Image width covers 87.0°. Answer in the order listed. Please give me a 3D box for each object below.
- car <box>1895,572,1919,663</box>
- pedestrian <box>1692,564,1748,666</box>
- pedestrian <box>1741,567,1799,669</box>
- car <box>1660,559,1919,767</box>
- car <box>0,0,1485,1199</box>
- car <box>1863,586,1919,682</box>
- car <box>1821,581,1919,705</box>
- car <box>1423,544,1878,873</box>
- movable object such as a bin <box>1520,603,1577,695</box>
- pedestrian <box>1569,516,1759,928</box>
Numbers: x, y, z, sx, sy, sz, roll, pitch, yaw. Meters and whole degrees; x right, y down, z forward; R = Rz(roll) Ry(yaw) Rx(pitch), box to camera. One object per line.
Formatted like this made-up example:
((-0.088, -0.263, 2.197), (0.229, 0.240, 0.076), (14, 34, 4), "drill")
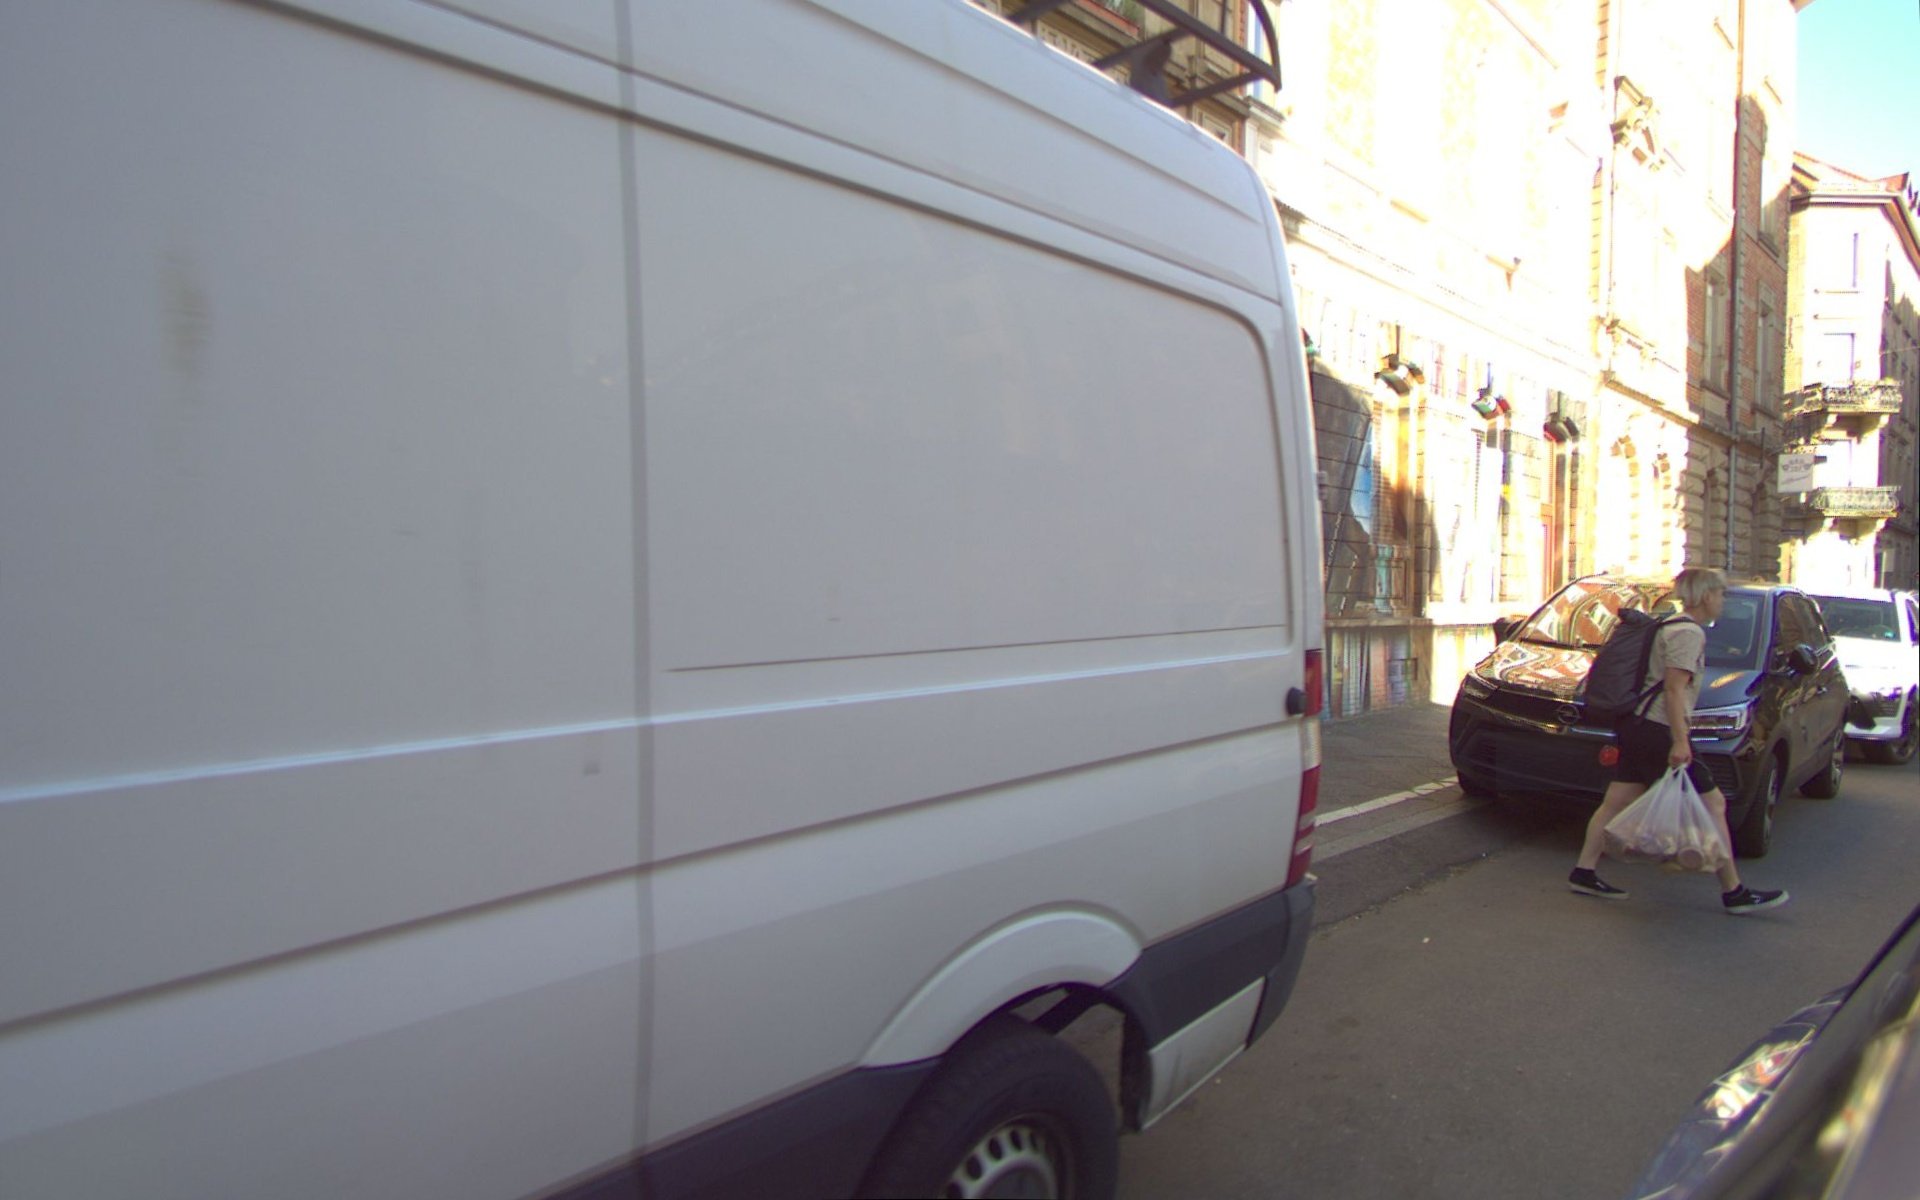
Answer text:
((20.042, 0.344, 20.191), (3.871, 1.735, 1.706), (0, 2, -43), "car")
((12.694, 0.236, 16.902), (0.722, 1.642, 0.575), (1, 1, -43), "pedestrian")
((13.264, 0.280, 16.566), (0.715, 1.624, 0.591), (1, 1, -43), "pedestrian")
((8.912, 0.500, 10.387), (4.140, 1.711, 1.811), (-1, 0, -40), "car")
((-1.563, 0.029, 1.383), (5.784, 2.644, 2.072), (0, 0, -41), "car")
((16.818, 0.543, 17.423), (3.619, 1.532, 1.537), (0, 2, -43), "car")
((13.252, 0.530, 14.099), (3.845, 1.544, 1.572), (0, -1, -45), "car")
((4.931, 0.523, 7.026), (3.856, 1.663, 1.690), (0, 1, -41), "car")
((7.404, 0.601, 12.738), (0.545, 1.065, 0.597), (4, 3, 31), "movable object such as a bin")
((3.387, 0.532, 4.882), (0.675, 1.795, 0.633), (-1, -1, 37), "pedestrian")
